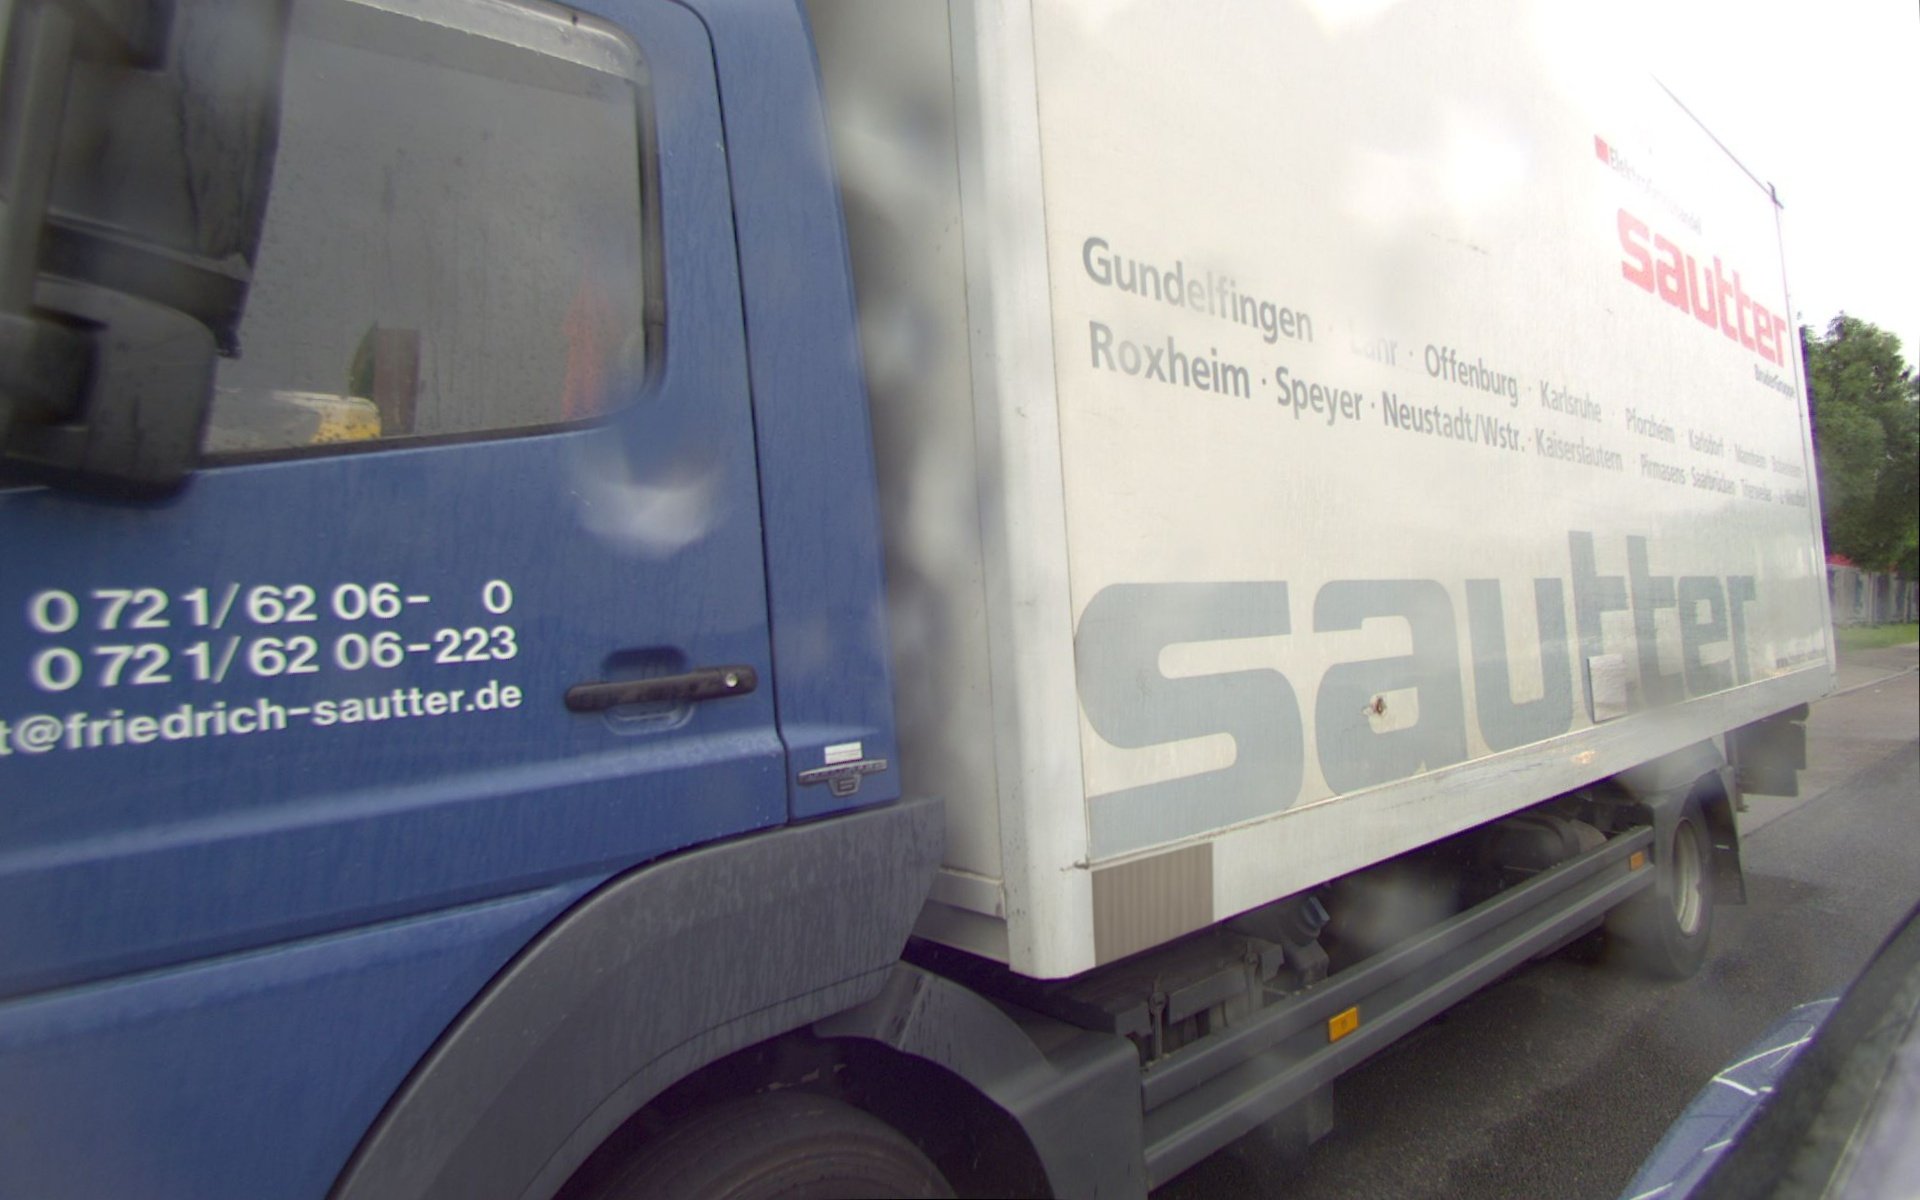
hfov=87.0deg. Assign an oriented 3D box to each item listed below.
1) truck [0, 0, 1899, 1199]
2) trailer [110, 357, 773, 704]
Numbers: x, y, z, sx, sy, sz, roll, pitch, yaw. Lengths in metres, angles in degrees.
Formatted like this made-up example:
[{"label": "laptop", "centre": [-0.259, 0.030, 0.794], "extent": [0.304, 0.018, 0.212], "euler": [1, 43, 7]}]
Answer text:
[{"label": "truck", "centre": [1.016, -0.378, 3.858], "extent": [7.866, 3.740, 2.676], "euler": [0, -2, -40]}, {"label": "trailer", "centre": [-7.919, -0.979, 16.716], "extent": [9.305, 4.295, 2.973], "euler": [-1, 2, -40]}]
